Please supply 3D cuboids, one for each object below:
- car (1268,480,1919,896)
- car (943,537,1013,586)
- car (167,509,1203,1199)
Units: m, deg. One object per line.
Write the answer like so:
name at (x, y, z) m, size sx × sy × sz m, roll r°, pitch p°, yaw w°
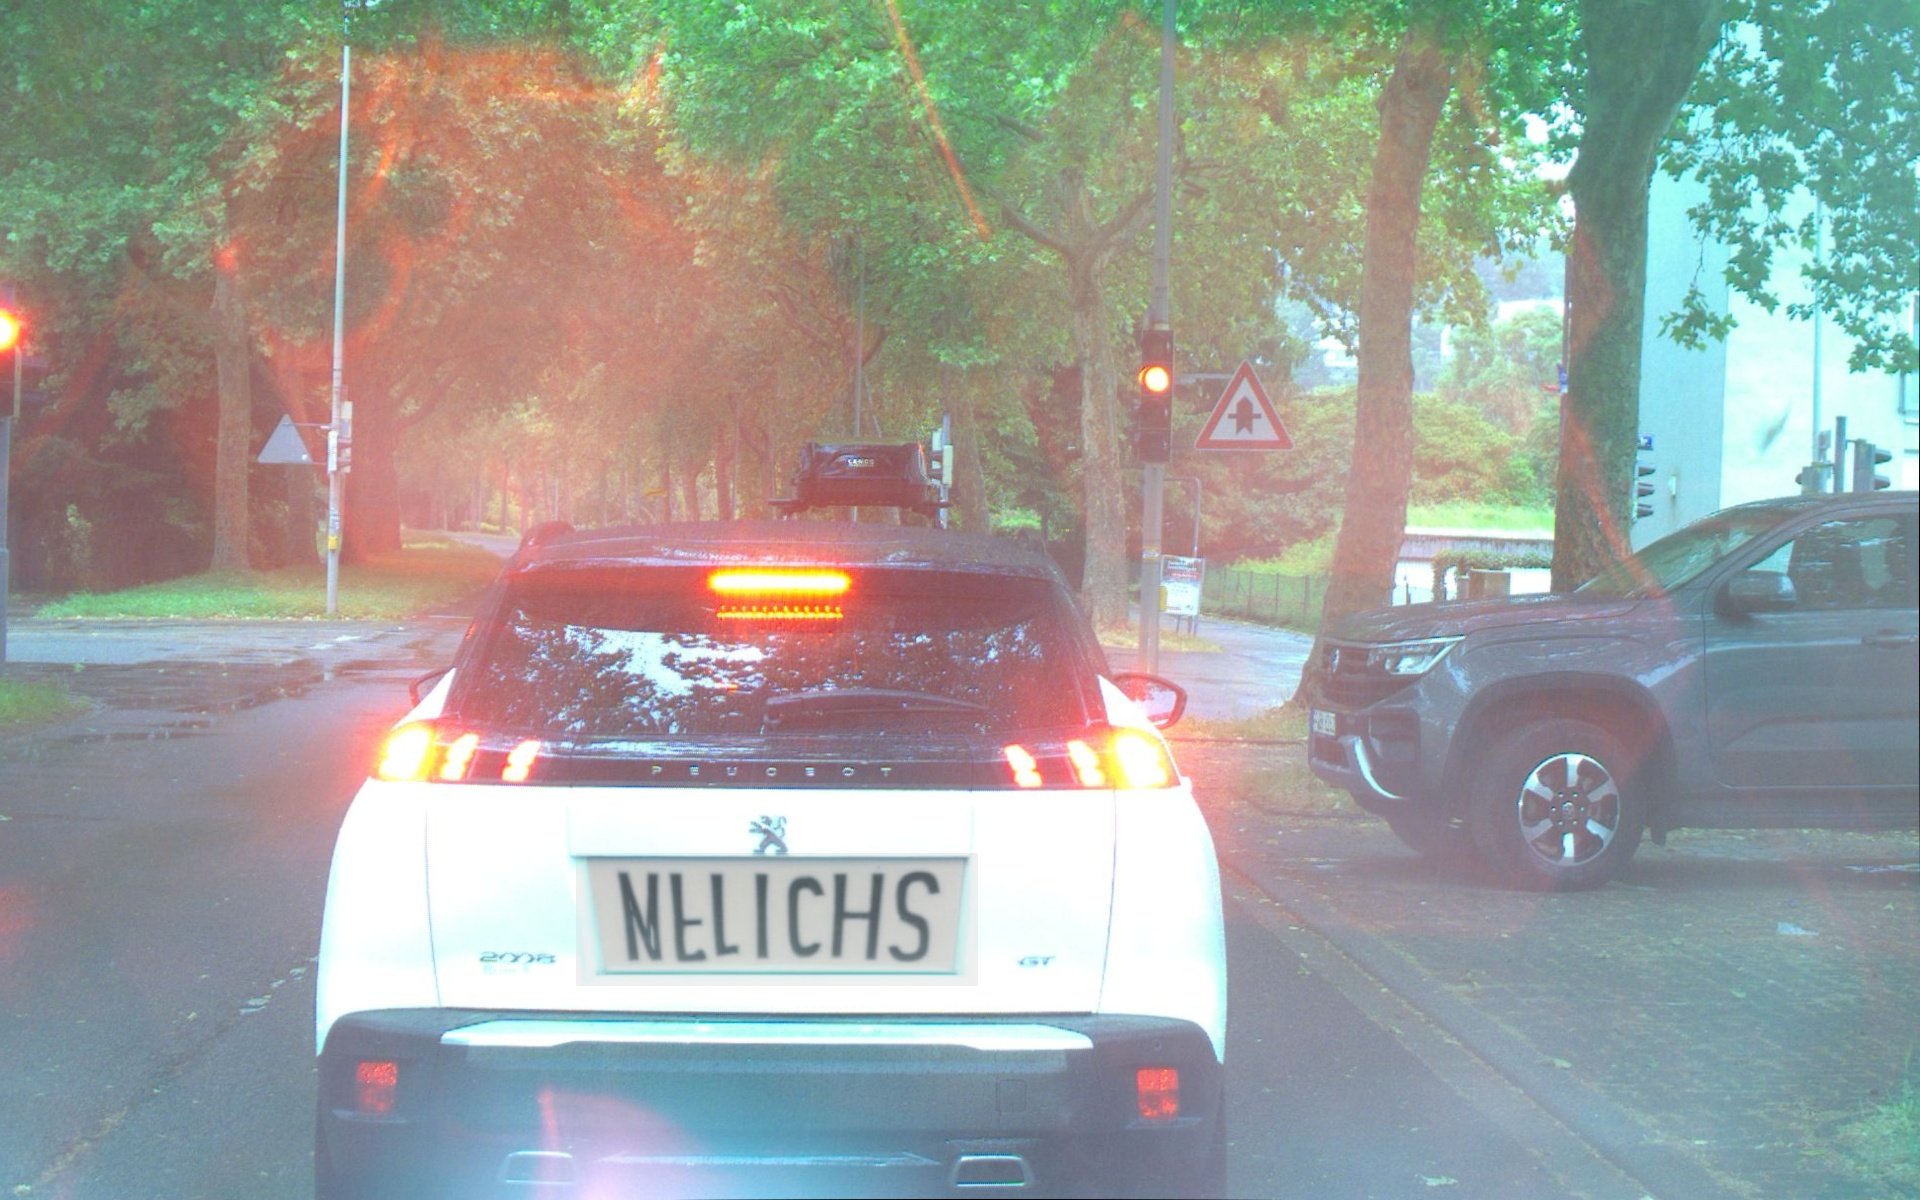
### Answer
car at (4.279, 0.394, 16.155) m, size 5.337 × 1.800 × 1.846 m, roll 1°, pitch 1°, yaw -7°
car at (0.557, -1.277, 112.002) m, size 1.905 × 1.504 × 3.932 m, roll 2°, pitch 1°, yaw -5°
car at (-0.519, 0.578, 8.026) m, size 1.780 × 1.531 × 4.058 m, roll 1°, pitch 1°, yaw -1°
